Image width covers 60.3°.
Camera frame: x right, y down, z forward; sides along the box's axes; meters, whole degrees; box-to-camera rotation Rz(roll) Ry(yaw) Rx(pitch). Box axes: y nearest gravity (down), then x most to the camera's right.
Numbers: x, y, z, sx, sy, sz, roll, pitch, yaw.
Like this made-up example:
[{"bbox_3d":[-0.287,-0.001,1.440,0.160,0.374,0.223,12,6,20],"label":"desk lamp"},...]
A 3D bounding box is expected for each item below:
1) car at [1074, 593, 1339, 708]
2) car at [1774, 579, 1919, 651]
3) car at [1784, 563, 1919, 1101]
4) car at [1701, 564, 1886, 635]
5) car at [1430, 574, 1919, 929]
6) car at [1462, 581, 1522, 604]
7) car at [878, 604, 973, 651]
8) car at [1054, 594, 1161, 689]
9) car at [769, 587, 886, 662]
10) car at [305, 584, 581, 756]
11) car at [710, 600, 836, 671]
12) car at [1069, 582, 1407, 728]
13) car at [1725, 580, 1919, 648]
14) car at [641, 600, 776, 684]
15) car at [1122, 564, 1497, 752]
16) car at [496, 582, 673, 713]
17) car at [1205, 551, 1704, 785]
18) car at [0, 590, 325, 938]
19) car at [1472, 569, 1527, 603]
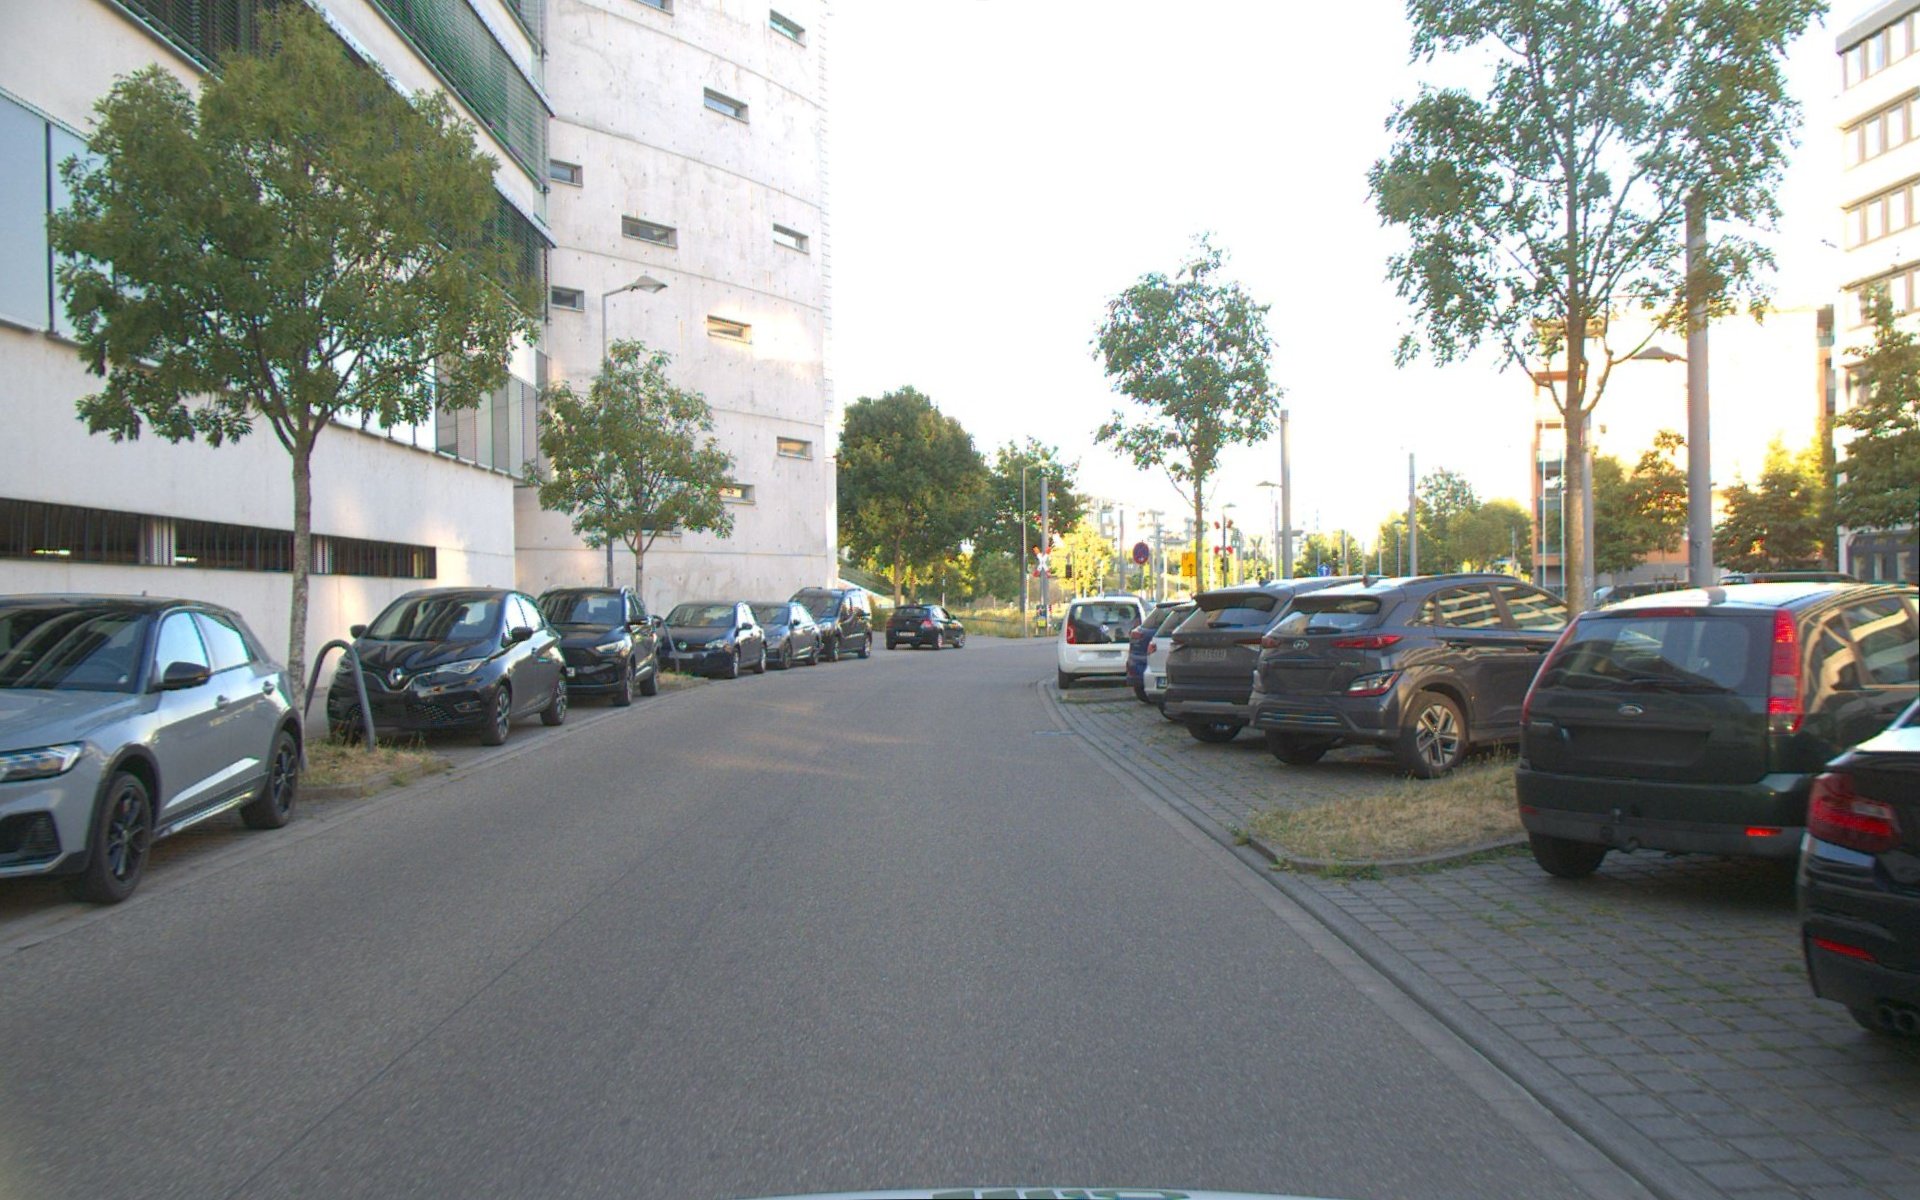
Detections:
[{"bbox_3d":[3.626,0.691,24.104,3.710,1.535,1.667,0,0,-35],"label":"car"},{"bbox_3d":[22.219,0.340,39.857,4.405,1.630,1.693,-1,0,-2],"label":"car"},{"bbox_3d":[4.396,0.657,5.385,3.739,1.491,1.617,0,0,-38],"label":"car"},{"bbox_3d":[24.262,-0.013,48.234,4.404,1.970,1.931,-1,0,0],"label":"car"},{"bbox_3d":[4.333,0.622,8.668,3.739,1.467,1.740,0,0,-38],"label":"car"},{"bbox_3d":[39.116,-0.560,121.652,4.070,1.604,1.702,-1,0,24],"label":"car"},{"bbox_3d":[-1.064,0.846,53.367,1.903,1.407,4.402,1,0,14],"label":"car"},{"bbox_3d":[2.587,0.665,28.607,1.686,1.493,3.555,-2,0,6],"label":"car"},{"bbox_3d":[-3.381,0.596,43.199,1.720,1.830,4.467,1,0,14],"label":"car"},{"bbox_3d":[-5.331,0.643,17.602,1.720,1.588,4.042,1,0,-1],"label":"car"},{"bbox_3d":[-4.219,0.763,38.082,1.685,1.483,4.698,1,0,9],"label":"car"},{"bbox_3d":[3.537,0.643,20.917,3.882,1.535,1.935,-3,0,-32],"label":"car"},{"bbox_3d":[22.167,0.344,42.305,4.405,1.630,1.693,-1,0,-2],"label":"car"},{"bbox_3d":[-4.887,0.772,32.696,1.686,1.483,4.274,1,0,5],"label":"car"},{"bbox_3d":[3.672,0.537,17.192,3.734,1.756,1.742,0,0,-35],"label":"car"},{"bbox_3d":[-5.240,0.609,23.565,1.720,1.682,3.947,1,0,-2],"label":"car"},{"bbox_3d":[4.318,0.513,14.382,3.931,1.668,1.954,-3,0,-30],"label":"car"},{"bbox_3d":[-4.919,0.703,9.038,1.722,1.465,3.896,1,0,-6],"label":"car"},{"bbox_3d":[43.197,-1.092,132.443,4.067,2.629,1.703,-1,0,20],"label":"car"}]
